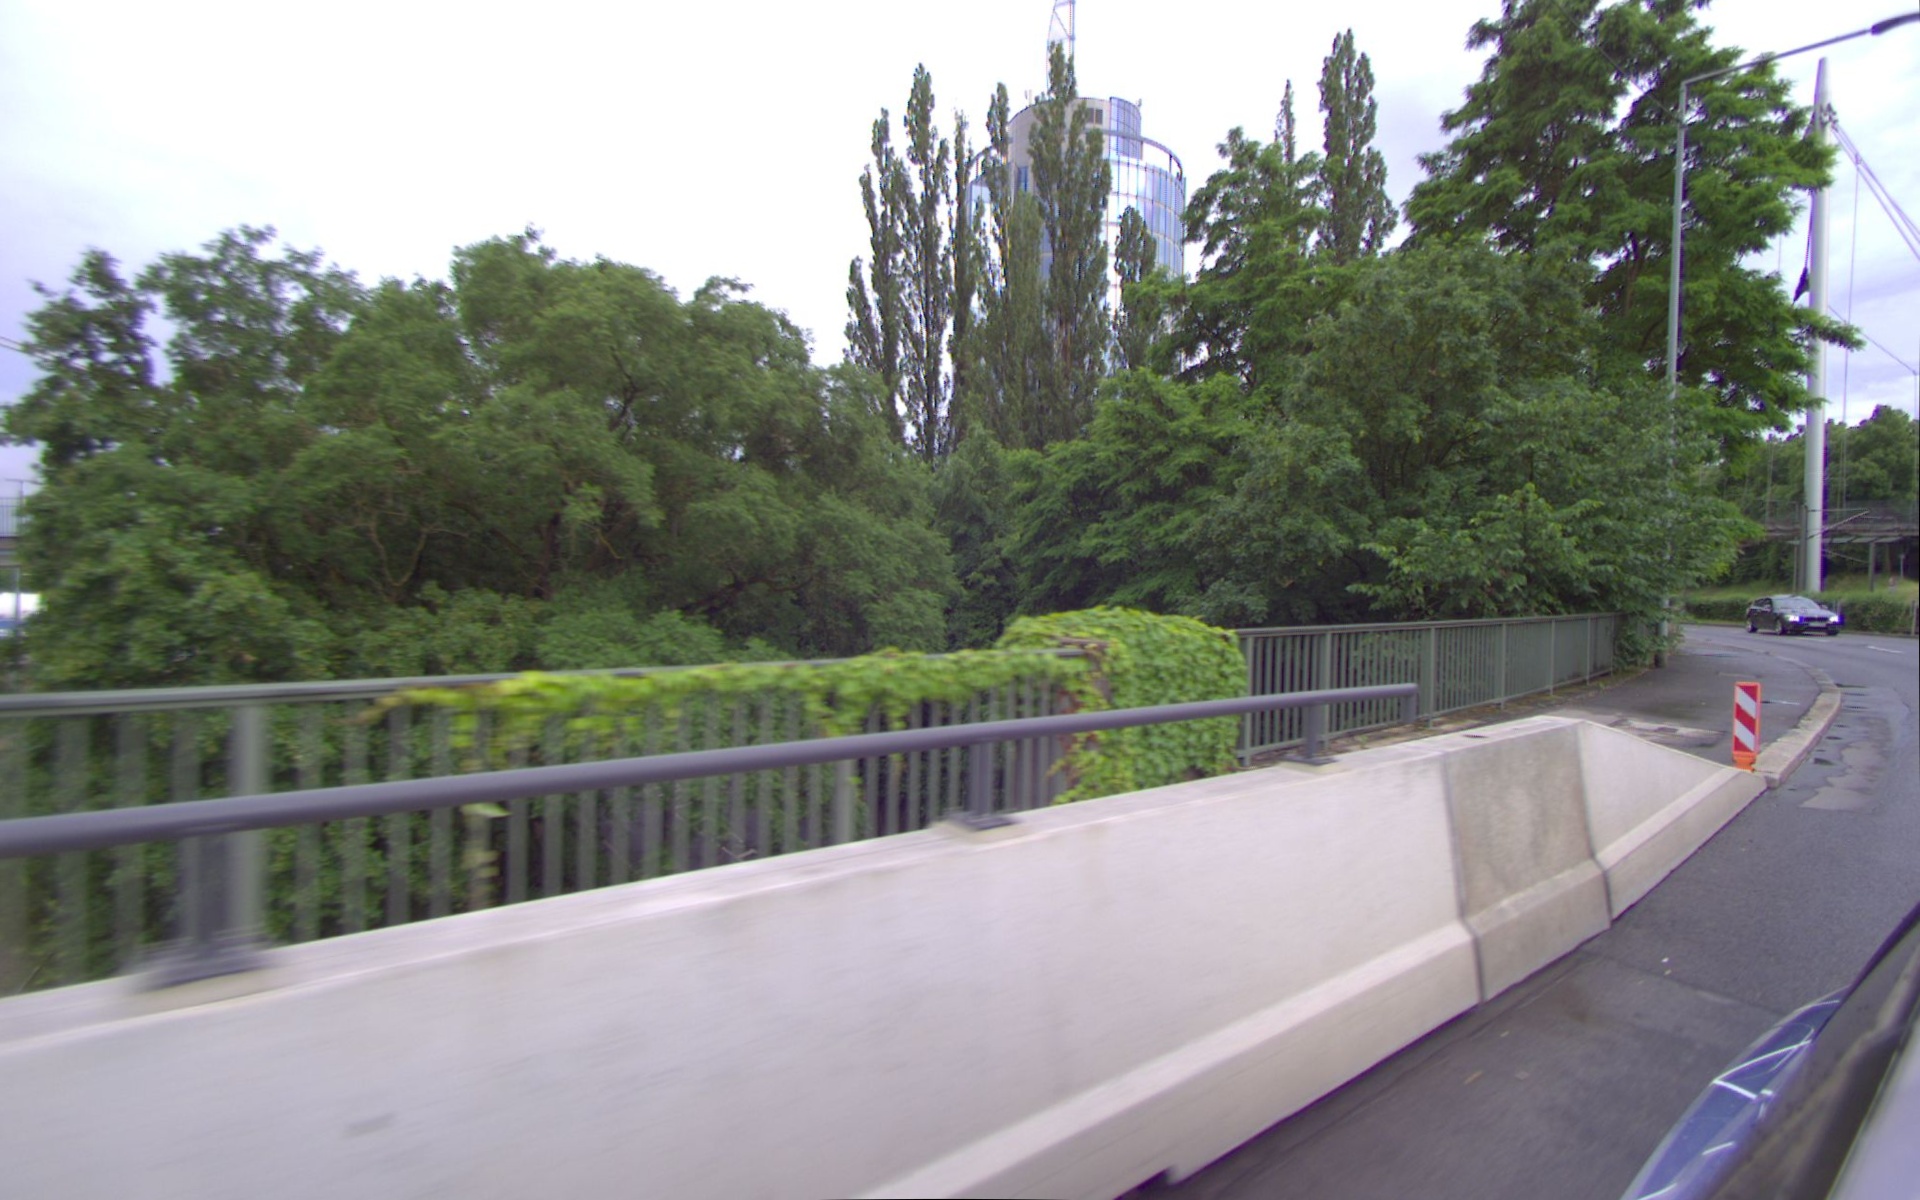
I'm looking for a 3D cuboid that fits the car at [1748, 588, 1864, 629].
[{"bbox_3d":[31.190,0.262,37.453,1.712,1.369,3.982,1,2,15],"label":"car"}]
